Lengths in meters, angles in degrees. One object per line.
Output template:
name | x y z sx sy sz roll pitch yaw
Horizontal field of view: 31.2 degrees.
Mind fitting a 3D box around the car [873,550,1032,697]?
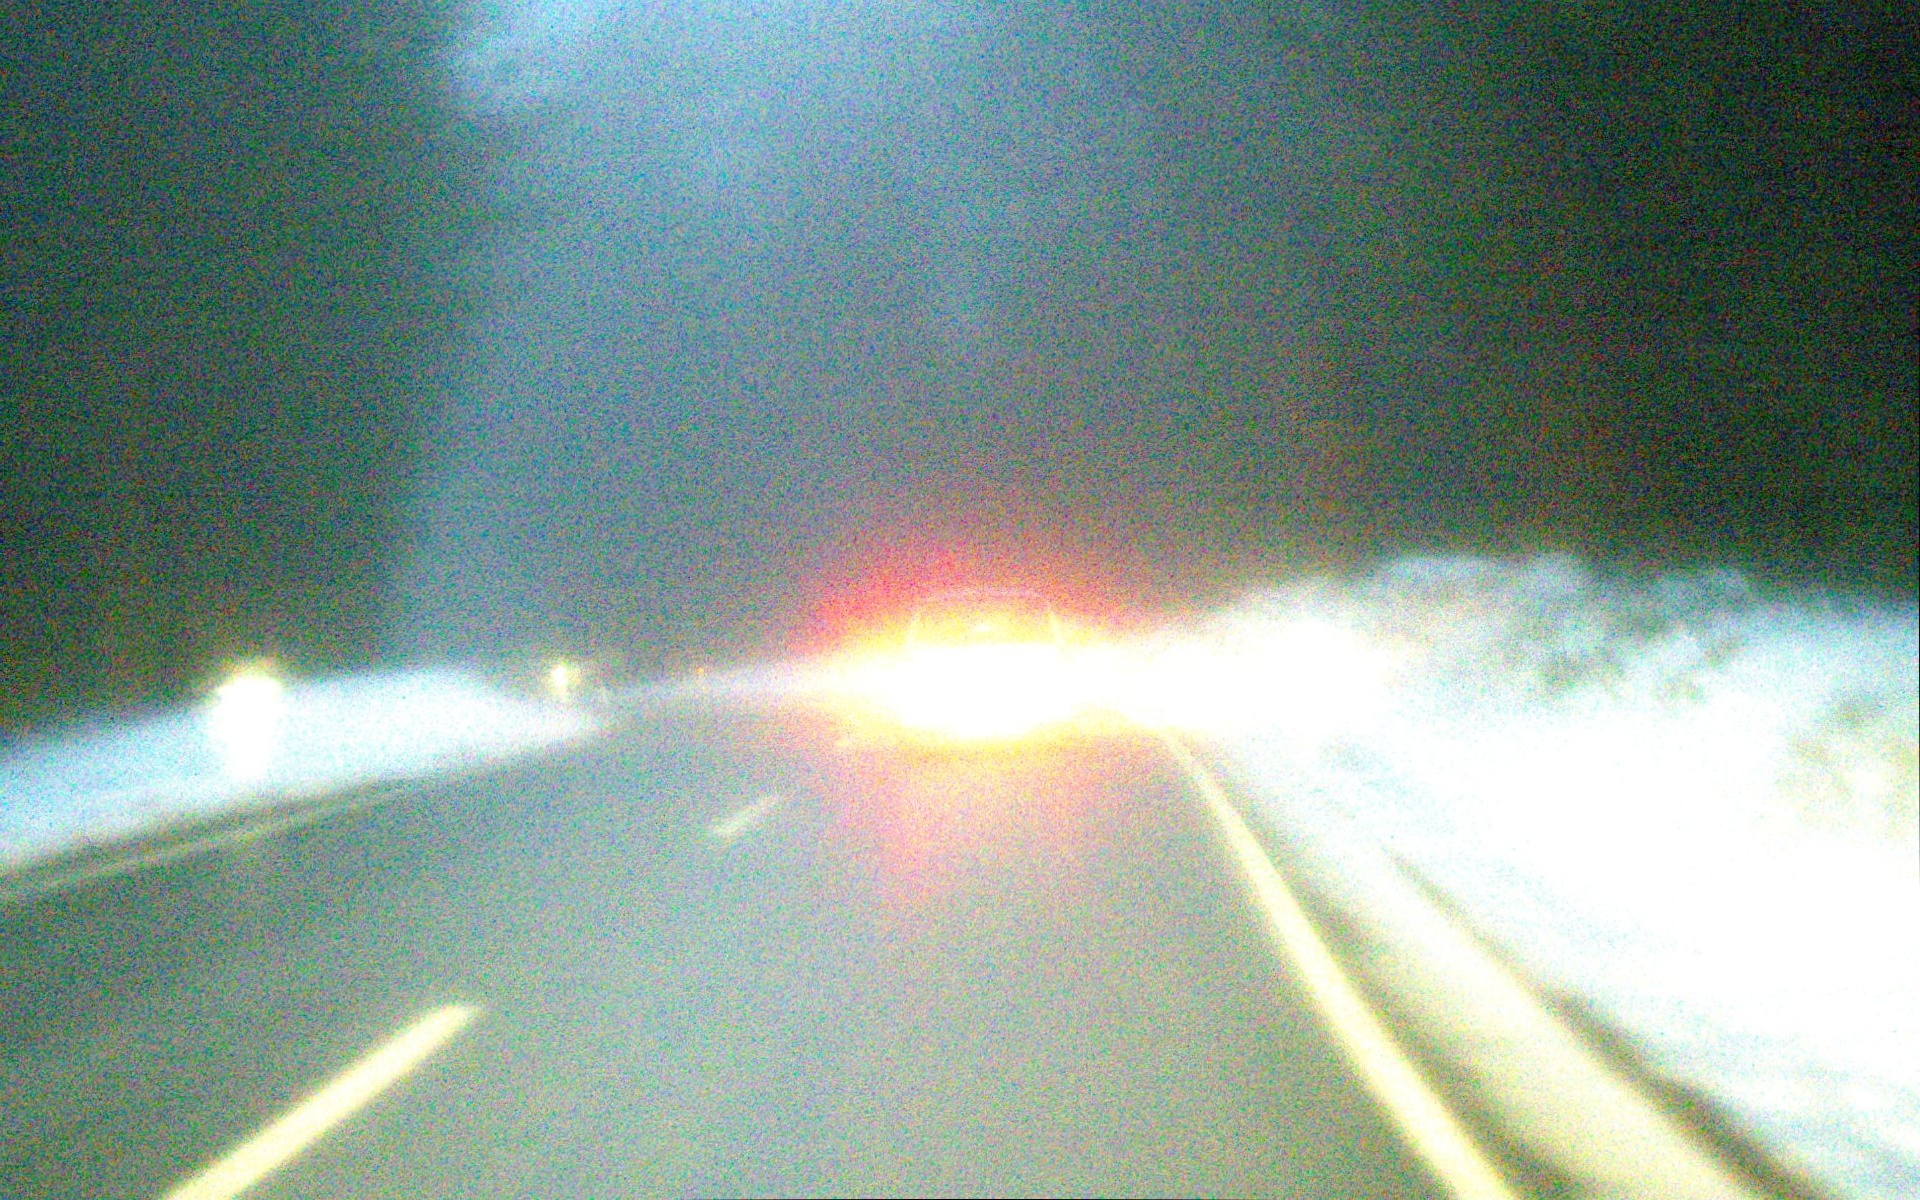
car | -0.148 0.379 48.866 1.993 1.777 3.999 2 -4 -3

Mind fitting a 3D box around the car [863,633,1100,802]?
car | 0.154 1.070 30.304 1.945 1.377 3.999 1 -3 -1
